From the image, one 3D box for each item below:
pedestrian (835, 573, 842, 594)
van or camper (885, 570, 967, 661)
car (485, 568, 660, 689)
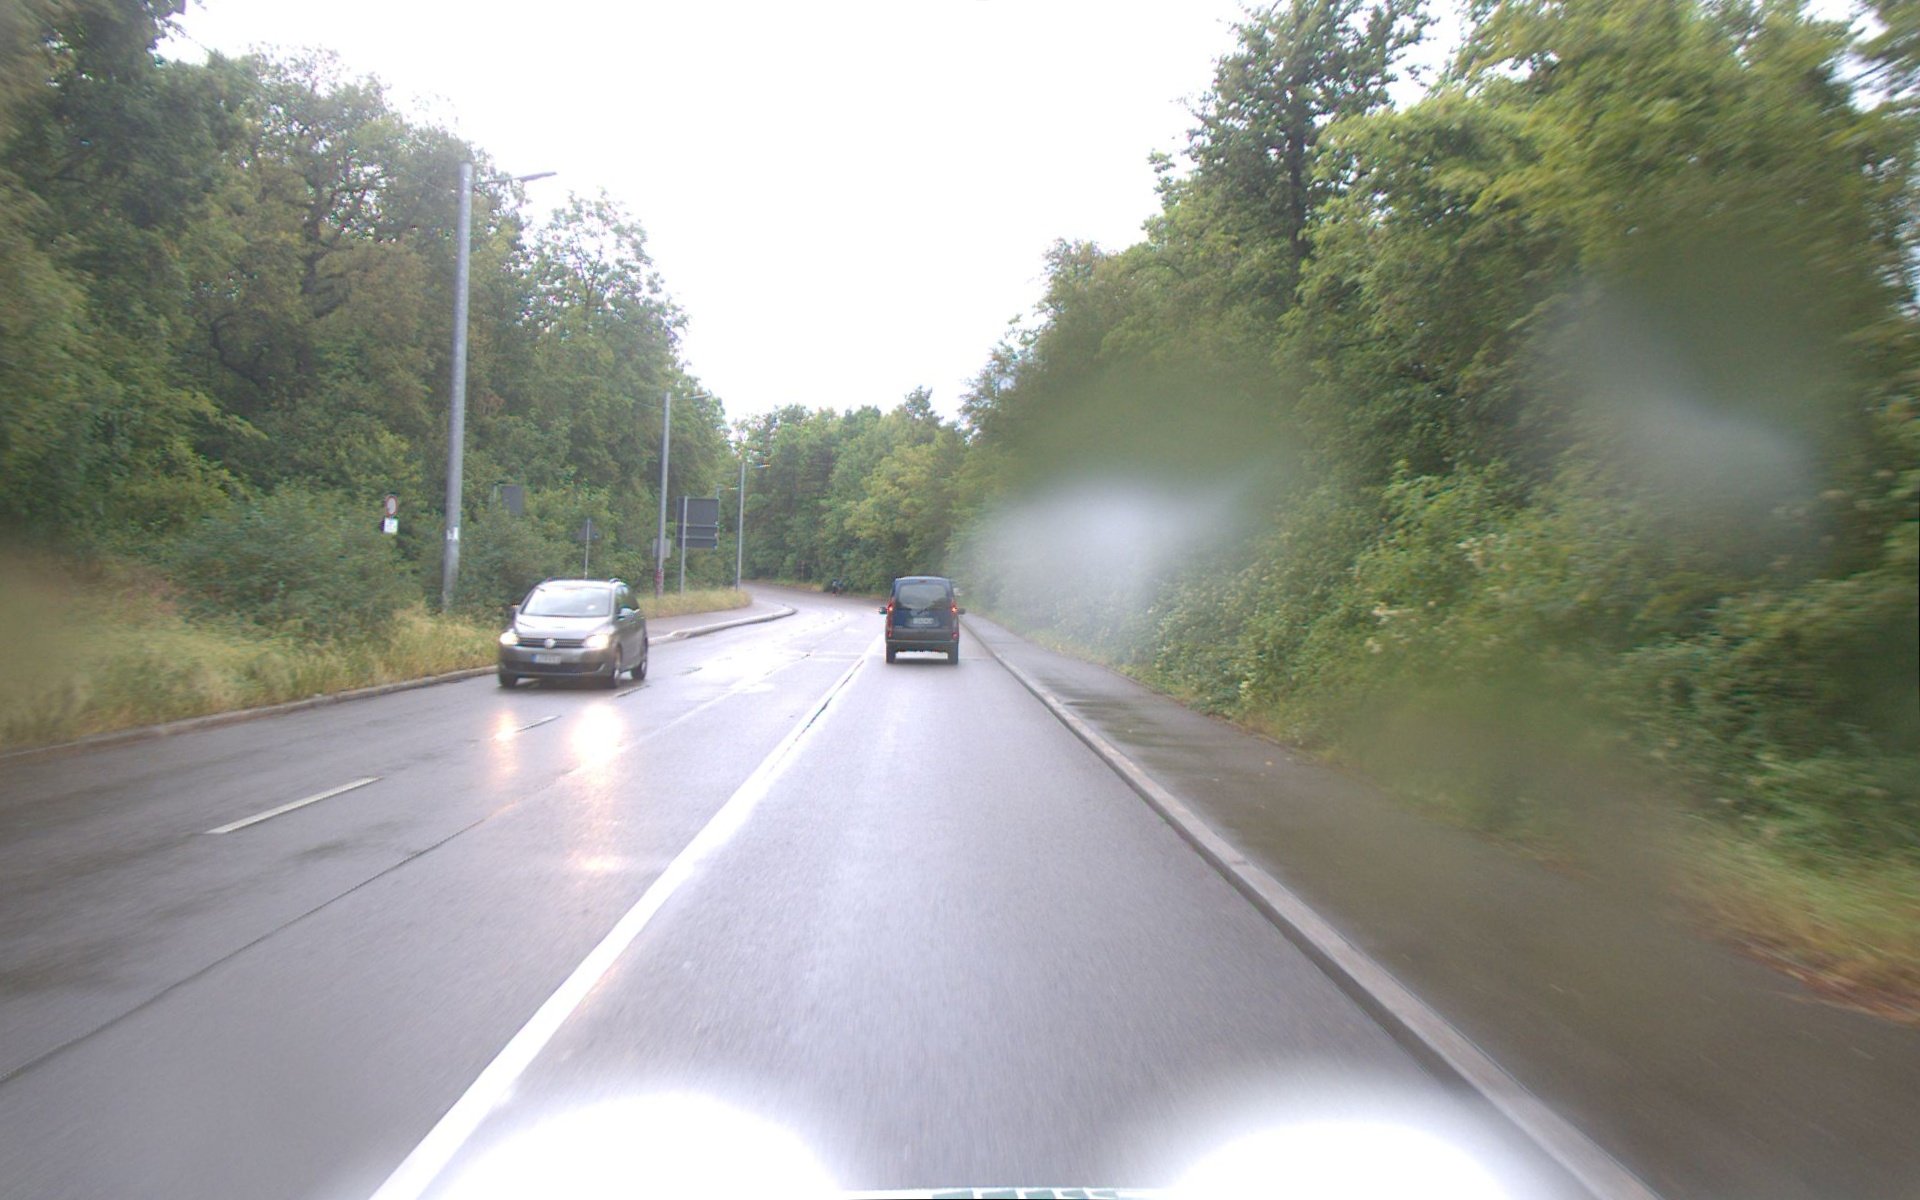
[{"bbox_3d":[-11.284,-1.507,153.337,0.482,1.902,0.677,1,0,-15],"label":"pedestrian"},{"bbox_3d":[-0.802,0.339,37.057,1.678,1.858,3.998,2,0,-2],"label":"van or camper"},{"bbox_3d":[-5.847,0.394,25.403,1.736,1.638,4.083,2,0,-1],"label":"car"}]
